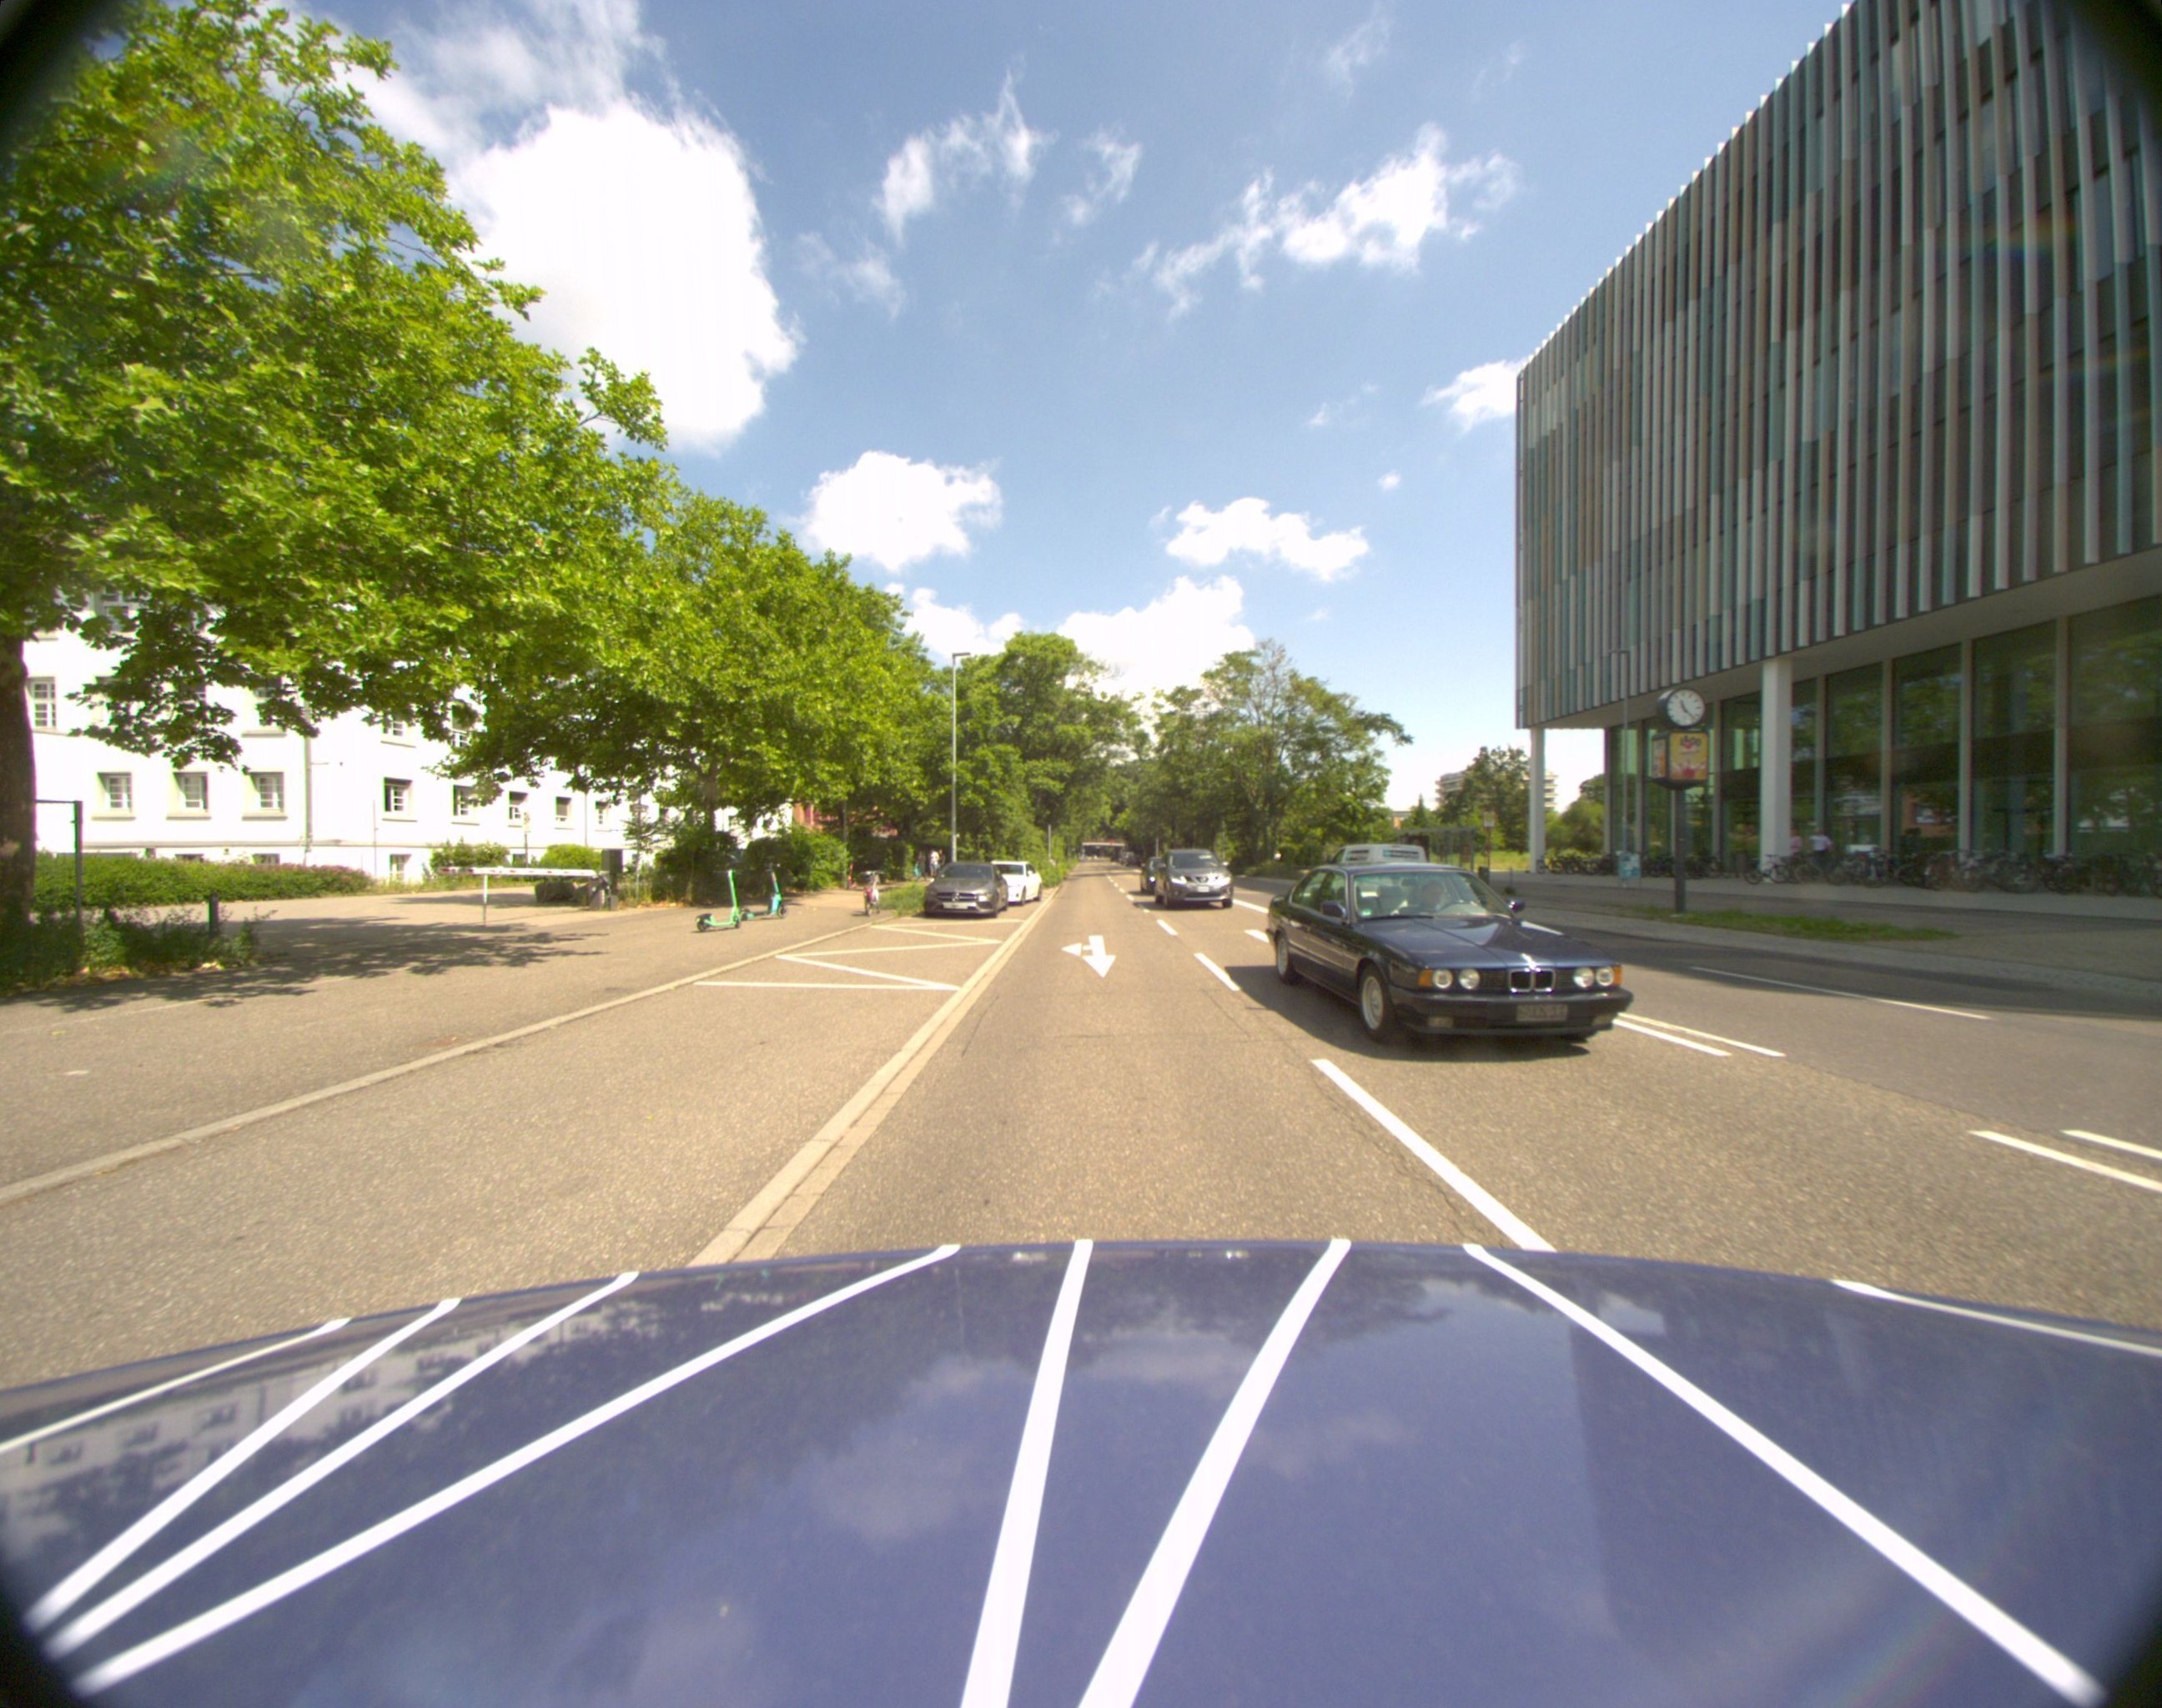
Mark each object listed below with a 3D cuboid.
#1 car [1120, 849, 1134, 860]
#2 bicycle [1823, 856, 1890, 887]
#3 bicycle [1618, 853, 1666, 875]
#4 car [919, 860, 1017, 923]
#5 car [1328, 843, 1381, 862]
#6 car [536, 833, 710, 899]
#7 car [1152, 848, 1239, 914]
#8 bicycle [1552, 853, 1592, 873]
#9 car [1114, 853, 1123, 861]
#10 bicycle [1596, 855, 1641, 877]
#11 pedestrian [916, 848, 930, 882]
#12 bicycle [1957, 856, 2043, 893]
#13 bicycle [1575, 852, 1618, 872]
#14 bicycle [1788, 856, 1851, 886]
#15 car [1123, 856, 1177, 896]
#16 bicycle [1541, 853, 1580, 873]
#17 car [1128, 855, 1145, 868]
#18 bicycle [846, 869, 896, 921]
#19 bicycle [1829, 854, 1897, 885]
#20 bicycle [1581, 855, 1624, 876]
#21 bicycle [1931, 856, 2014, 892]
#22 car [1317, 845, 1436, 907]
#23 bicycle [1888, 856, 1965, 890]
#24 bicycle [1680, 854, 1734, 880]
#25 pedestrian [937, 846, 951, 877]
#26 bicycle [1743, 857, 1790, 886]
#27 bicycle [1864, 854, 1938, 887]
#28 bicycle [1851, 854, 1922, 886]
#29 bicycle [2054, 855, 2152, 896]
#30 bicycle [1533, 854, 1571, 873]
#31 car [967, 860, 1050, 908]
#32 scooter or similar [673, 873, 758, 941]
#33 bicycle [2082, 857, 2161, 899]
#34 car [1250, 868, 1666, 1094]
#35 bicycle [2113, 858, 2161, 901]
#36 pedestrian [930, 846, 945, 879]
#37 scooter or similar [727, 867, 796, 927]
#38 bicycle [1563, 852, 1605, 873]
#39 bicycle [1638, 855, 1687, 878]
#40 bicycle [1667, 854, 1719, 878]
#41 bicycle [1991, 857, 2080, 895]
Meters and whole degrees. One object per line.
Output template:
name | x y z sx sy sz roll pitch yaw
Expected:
car | 6.961 0.051 113.627 1.897 1.502 3.829 -2 1 6
bicycle | 25.259 0.564 24.764 1.543 0.950 0.374 -2 1 15
bicycle | 25.241 0.453 34.188 1.784 0.950 0.433 -2 1 0
car | -2.958 0.934 20.915 1.861 1.470 4.942 1 -1 1
car | 23.091 -0.128 64.313 3.823 1.502 1.900 -2 1 6
car | -13.842 0.346 23.177 3.998 1.772 1.999 -2 1 -2
car | 3.202 0.712 22.121 1.824 1.669 4.478 -2 0 0
bicycle | 25.232 0.462 39.066 1.784 0.950 0.433 -2 1 0
car | 7.607 0.541 156.153 1.756 1.502 3.828 -2 1 2
bicycle | 25.153 0.553 35.581 1.784 0.950 0.433 -2 1 0
pedestrian | -8.498 0.576 40.846 0.684 1.770 0.790 -2 1 -13
bicycle | 24.847 0.566 20.555 1.543 0.950 0.374 -2 1 15
bicycle | 25.287 0.393 37.279 1.784 0.950 0.433 -2 1 0
bicycle | 25.251 0.583 25.988 1.543 0.950 0.374 -2 1 15
car | 2.814 0.822 30.118 1.828 1.407 4.194 -1 0 9
bicycle | 25.285 0.479 40.096 1.784 0.950 0.433 -2 1 0
car | 6.763 0.887 91.867 1.897 1.502 3.829 -2 1 6
bicycle | -5.203 0.982 18.926 0.639 1.183 2.119 1 0 0
bicycle | 25.076 0.498 24.375 1.543 0.950 0.374 -2 1 15
bicycle | 25.179 0.556 36.693 1.784 0.950 0.433 -2 1 0
bicycle | 24.868 0.547 21.208 1.543 0.950 0.374 -2 1 15
car | 9.441 0.654 24.723 1.903 1.801 4.731 1 0 -2
bicycle | 24.874 0.564 22.377 1.543 0.950 0.374 -2 1 15
bicycle | 25.278 0.521 30.698 1.784 0.950 0.433 -2 1 0
pedestrian | -7.799 0.428 43.365 0.684 1.770 0.790 -2 1 -7
bicycle | 24.209 0.603 26.832 1.547 0.950 0.373 -2 1 -11
bicycle | 25.006 0.512 23.184 1.543 0.950 0.374 -2 1 15
bicycle | 25.135 0.504 23.724 1.543 0.950 0.374 -2 1 15
bicycle | 25.257 0.531 18.799 1.543 0.950 0.374 -2 1 15
bicycle | 25.271 0.487 40.783 1.784 0.950 0.433 -2 1 0
car | -2.376 0.950 26.178 1.741 1.442 4.945 1 0 7
scooter or similar | -6.835 0.958 14.279 0.529 1.162 1.577 1 0 14
bicycle | 25.114 0.579 18.142 1.543 0.950 0.374 -2 1 15
car | 3.041 0.895 7.387 1.696 1.378 4.613 -1 0 -1
bicycle | 25.047 0.575 17.548 1.543 0.950 0.374 -2 1 15
pedestrian | -7.718 0.448 40.883 0.684 1.770 0.790 -2 1 -10
scooter or similar | -6.966 0.920 16.605 0.528 1.239 1.292 1 0 35
bicycle | 25.252 0.429 38.170 1.784 0.950 0.433 -2 1 0
bicycle | 25.382 0.545 33.156 1.784 0.950 0.433 -2 1 0
bicycle | 25.631 0.507 31.830 1.784 0.950 0.433 -2 1 0
bicycle | 25.091 0.574 19.990 1.543 0.950 0.374 -2 1 15
